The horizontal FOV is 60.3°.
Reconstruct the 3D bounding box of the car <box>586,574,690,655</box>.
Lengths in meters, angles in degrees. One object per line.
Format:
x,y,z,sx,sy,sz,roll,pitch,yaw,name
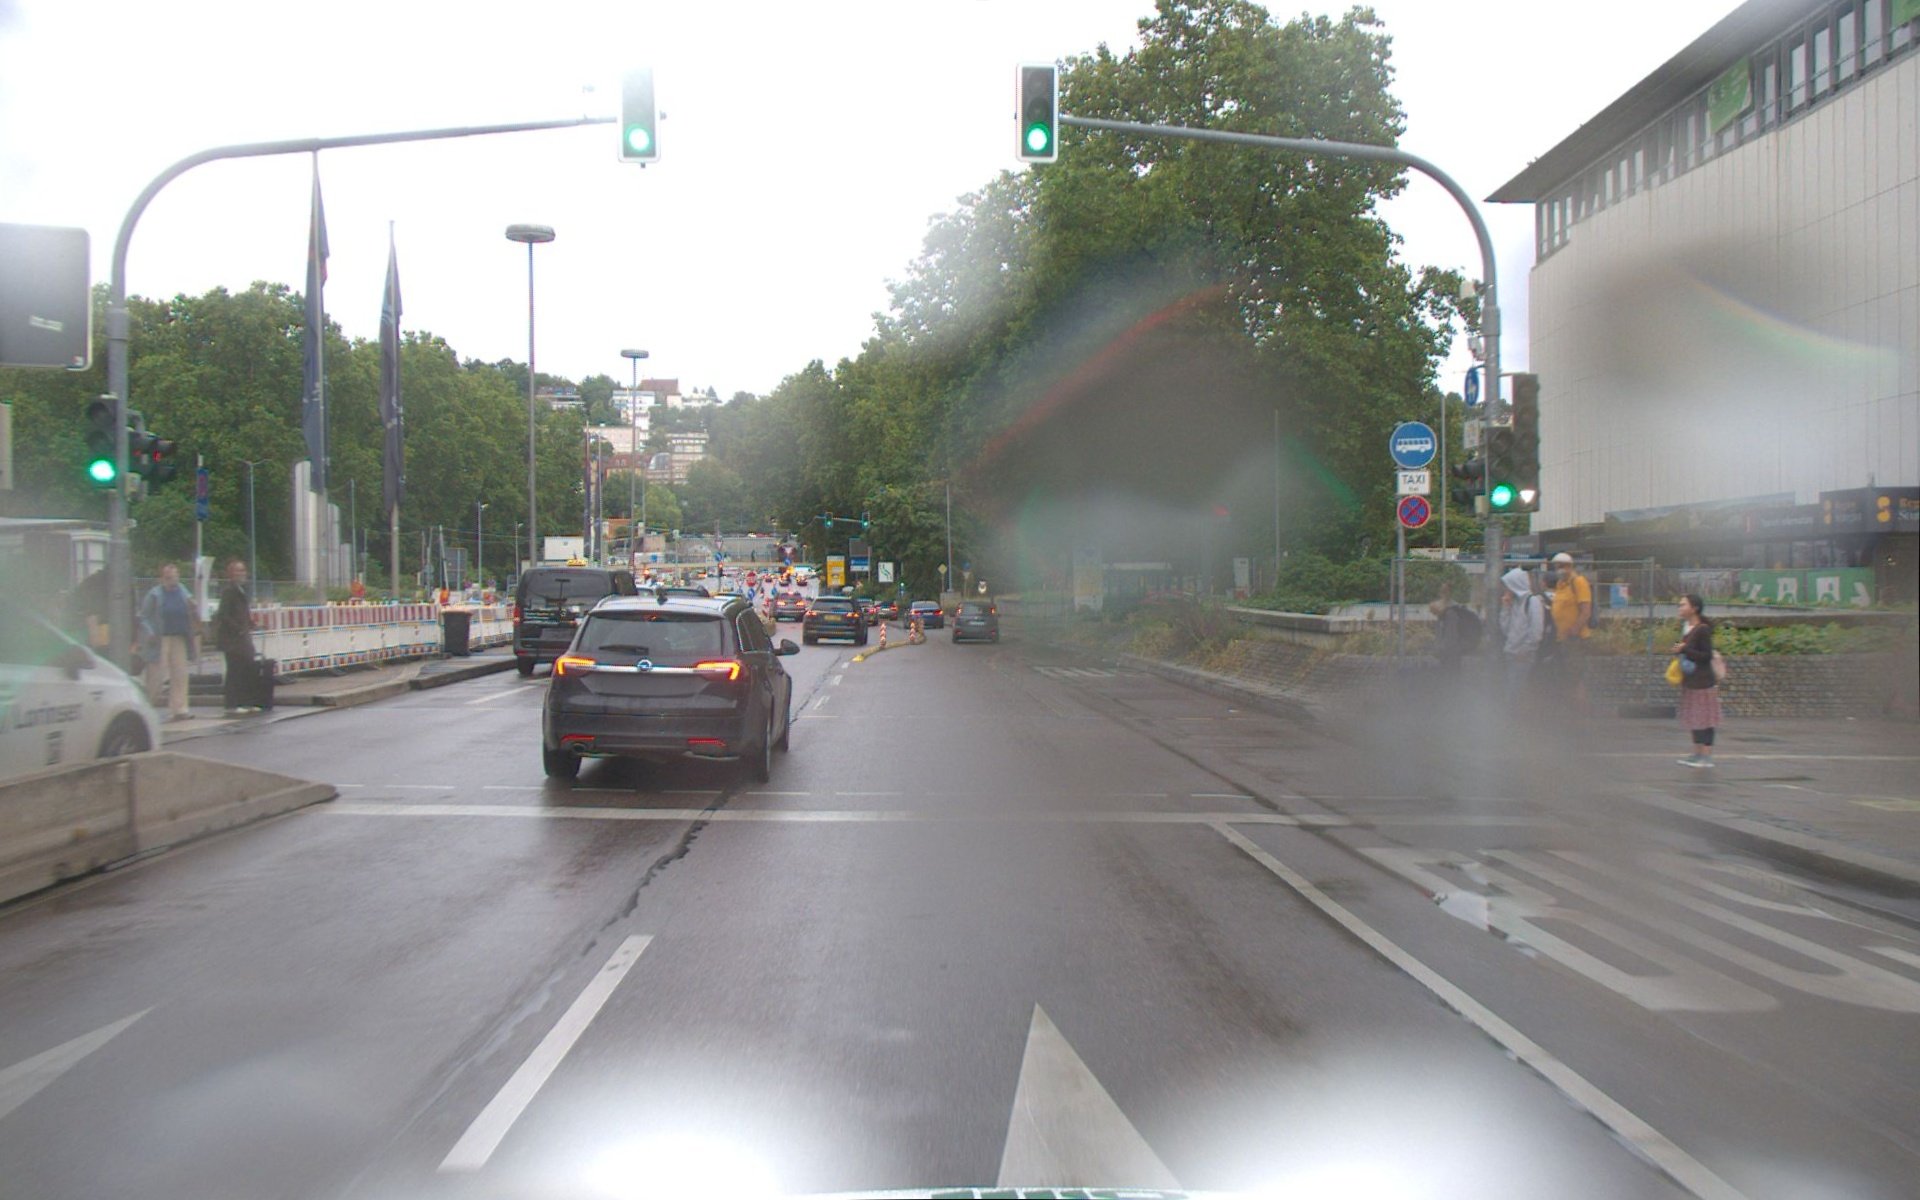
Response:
-7.453,0.342,38.712,1.788,1.726,4.769,1,-1,-4,car

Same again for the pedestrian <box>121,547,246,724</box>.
-8.672,0.388,18.492,0.983,1.919,0.817,0,0,22,pedestrian

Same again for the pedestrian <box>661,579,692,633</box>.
-10.897,0.227,63.542,1.003,2.049,0.836,0,0,2,pedestrian

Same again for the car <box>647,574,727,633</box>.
-7.625,0.116,46.551,1.788,1.537,4.486,1,-1,-4,car

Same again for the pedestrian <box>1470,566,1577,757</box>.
5.566,0.597,16.365,0.733,1.836,0.707,0,-1,-15,pedestrian

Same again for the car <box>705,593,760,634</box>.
-9.251,0.557,67.437,1.954,1.557,4.148,-1,0,-5,car

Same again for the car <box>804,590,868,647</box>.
-3.781,0.555,51.115,1.793,1.715,4.132,0,0,-2,car

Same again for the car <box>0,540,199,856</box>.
-6.093,0.536,9.010,1.750,1.715,4.666,0,0,0,car

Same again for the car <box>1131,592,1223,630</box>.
9.278,0.458,70.802,3.550,1.532,1.726,1,-1,38,car

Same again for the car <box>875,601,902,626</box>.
-4.824,0.909,110.716,1.603,1.653,3.791,1,-1,-5,car

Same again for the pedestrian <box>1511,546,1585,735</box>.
6.951,0.468,19.577,0.693,2.183,0.722,0,0,10,pedestrian

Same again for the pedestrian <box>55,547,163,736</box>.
-8.821,0.417,17.173,0.815,1.919,0.690,0,0,-10,pedestrian

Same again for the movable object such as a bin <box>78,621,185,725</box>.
-8.984,0.778,17.957,0.727,1.095,0.749,0,0,22,movable object such as a bin

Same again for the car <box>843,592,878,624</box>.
-5.611,0.456,93.352,1.866,1.747,3.998,1,-1,-2,car

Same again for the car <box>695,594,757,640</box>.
-8.767,0.635,62.293,1.954,1.595,4.871,-1,0,-4,car

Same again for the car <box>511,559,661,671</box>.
-6.847,0.287,30.812,1.954,1.878,5.058,1,-1,-4,car

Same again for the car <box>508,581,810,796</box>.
-2.374,0.647,14.292,1.840,1.534,4.850,0,0,-2,car

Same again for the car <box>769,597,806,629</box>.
-10.681,0.798,102.115,1.957,1.859,3.990,1,-1,-10,car

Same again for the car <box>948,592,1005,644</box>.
0.543,0.642,58.561,1.814,1.747,3.998,1,-1,-2,car

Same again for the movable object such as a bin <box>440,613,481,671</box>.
-10.385,0.869,34.413,0.658,1.182,0.766,2,-1,-7,movable object such as a bin

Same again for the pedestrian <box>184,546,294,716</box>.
-8.364,0.348,19.190,0.983,1.919,0.683,0,0,22,pedestrian

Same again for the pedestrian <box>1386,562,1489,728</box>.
5.534,0.506,19.220,0.773,1.871,0.946,0,-1,-15,pedestrian

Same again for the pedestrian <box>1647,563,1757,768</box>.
6.847,0.587,15.282,0.533,1.836,0.751,0,-1,-28,pedestrian

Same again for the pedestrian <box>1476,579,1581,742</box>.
6.136,0.643,17.885,0.857,1.720,0.758,0,0,-1,pedestrian

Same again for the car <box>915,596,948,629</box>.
-1.448,0.642,84.130,1.640,1.609,3.239,1,-1,-1,car

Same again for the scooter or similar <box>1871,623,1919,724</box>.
11.952,0.910,20.768,0.345,1.238,1.157,1,-1,-2,scooter or similar

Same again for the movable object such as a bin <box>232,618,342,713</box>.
-8.074,0.771,19.861,0.983,1.095,0.749,0,0,22,movable object such as a bin

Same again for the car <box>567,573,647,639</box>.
-11.768,0.223,55.470,1.955,2.049,5.363,1,-1,-5,car

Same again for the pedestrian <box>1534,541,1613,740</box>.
6.880,0.444,18.568,0.545,2.183,0.665,0,-1,-15,pedestrian
